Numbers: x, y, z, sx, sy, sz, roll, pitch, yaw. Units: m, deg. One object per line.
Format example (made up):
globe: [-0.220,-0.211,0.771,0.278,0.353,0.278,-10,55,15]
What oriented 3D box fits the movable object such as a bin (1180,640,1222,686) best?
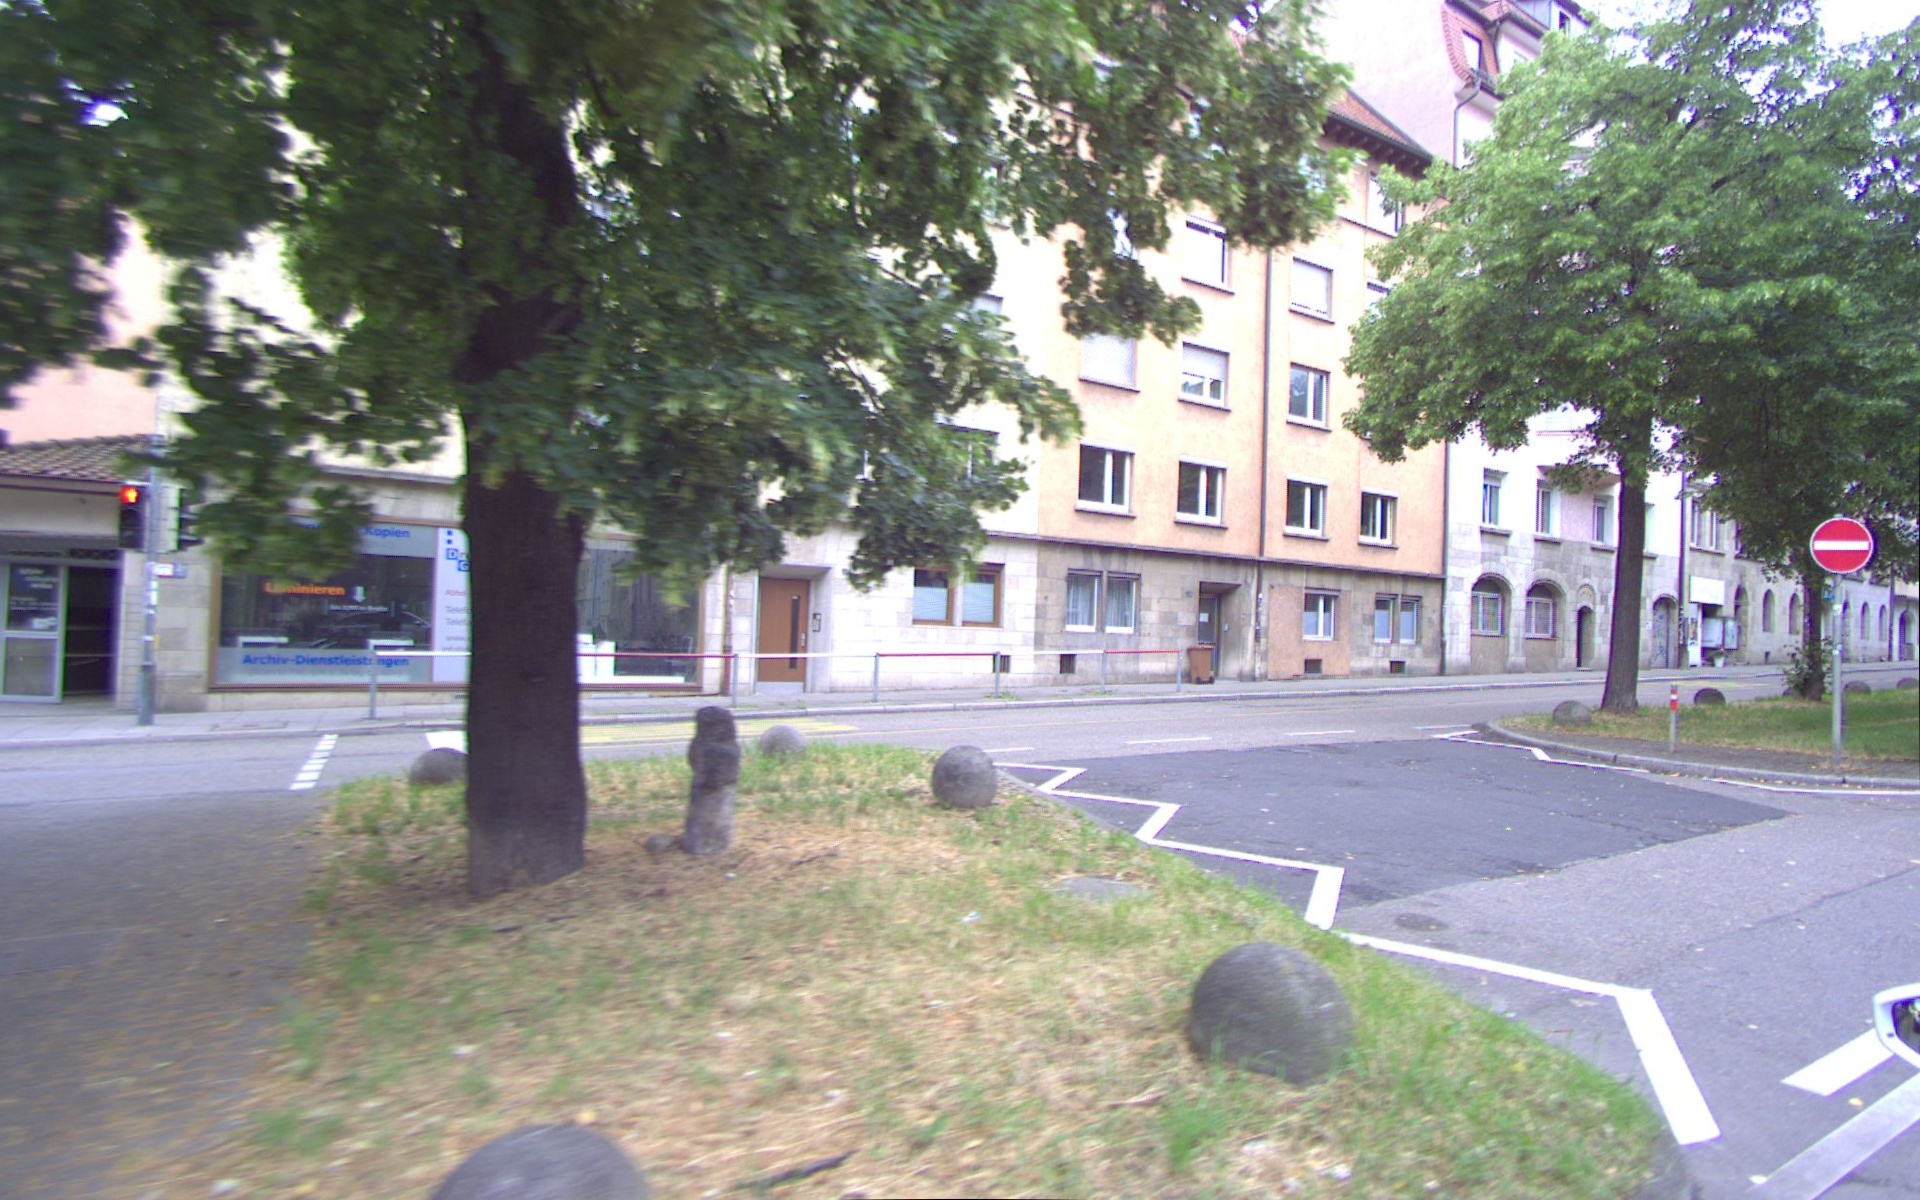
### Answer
movable object such as a bin: [5.822,1.511,24.282,0.683,1.074,0.687,2,-1,-34]

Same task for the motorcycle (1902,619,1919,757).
motorcycle: [11.342,0.954,10.908,2.220,1.465,1.015,2,-3,-30]
